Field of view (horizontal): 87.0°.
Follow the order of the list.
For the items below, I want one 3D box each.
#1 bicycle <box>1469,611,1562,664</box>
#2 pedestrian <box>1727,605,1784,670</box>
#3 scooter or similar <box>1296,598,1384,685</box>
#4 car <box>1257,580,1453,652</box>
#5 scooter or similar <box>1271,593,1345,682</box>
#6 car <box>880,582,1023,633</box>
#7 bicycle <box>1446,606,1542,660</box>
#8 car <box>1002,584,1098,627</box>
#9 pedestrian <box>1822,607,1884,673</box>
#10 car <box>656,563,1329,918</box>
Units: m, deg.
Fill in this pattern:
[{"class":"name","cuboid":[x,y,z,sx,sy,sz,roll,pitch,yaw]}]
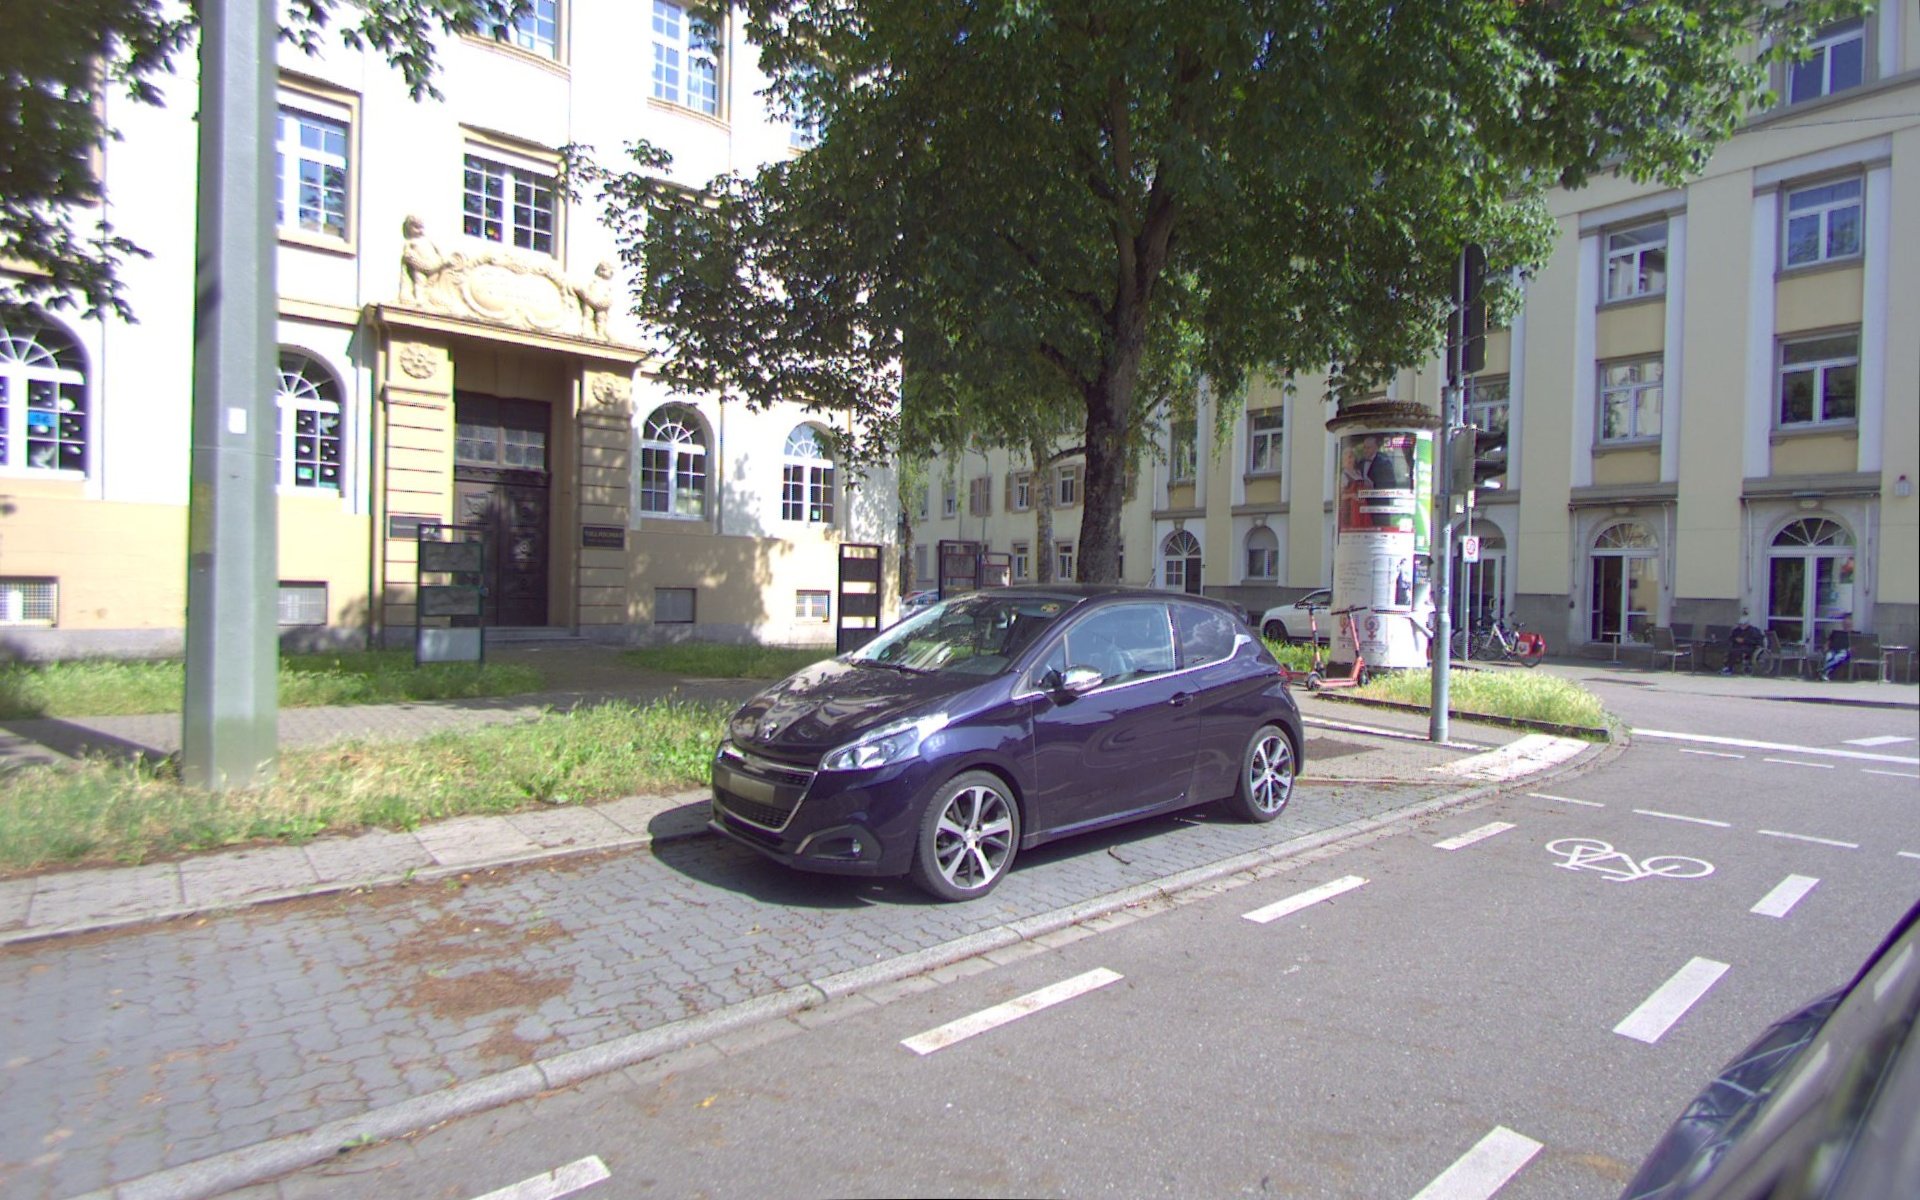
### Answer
[{"class":"bicycle","cuboid":[12.794,0.834,23.376,0.603,1.058,1.950,0,2,-19]},{"class":"pedestrian","cuboid":[17.032,0.780,21.675,0.745,1.304,0.804,-2,2,-38]},{"class":"scooter or similar","cuboid":[5.376,0.583,14.315,1.103,1.193,0.415,1,-1,-12]},{"class":"car","cuboid":[10.467,0.342,27.210,1.820,1.676,4.841,-1,2,-30]},{"class":"scooter or similar","cuboid":[5.174,0.542,15.109,0.437,1.257,1.110,1,1,-18]},{"class":"car","cuboid":[-0.304,0.201,30.109,4.096,1.369,1.859,1,1,-5]},{"class":"bicycle","cuboid":[12.795,0.762,24.301,0.606,1.154,1.942,-1,3,-43]},{"class":"car","cuboid":[3.458,0.168,39.633,1.820,1.442,4.006,-3,3,-28]},{"class":"pedestrian","cuboid":[18.347,0.801,20.793,0.876,1.260,0.804,-2,2,-38]},{"class":"car","cuboid":[0.389,0.533,6.008,3.855,1.404,1.689,-1,3,-41]}]
